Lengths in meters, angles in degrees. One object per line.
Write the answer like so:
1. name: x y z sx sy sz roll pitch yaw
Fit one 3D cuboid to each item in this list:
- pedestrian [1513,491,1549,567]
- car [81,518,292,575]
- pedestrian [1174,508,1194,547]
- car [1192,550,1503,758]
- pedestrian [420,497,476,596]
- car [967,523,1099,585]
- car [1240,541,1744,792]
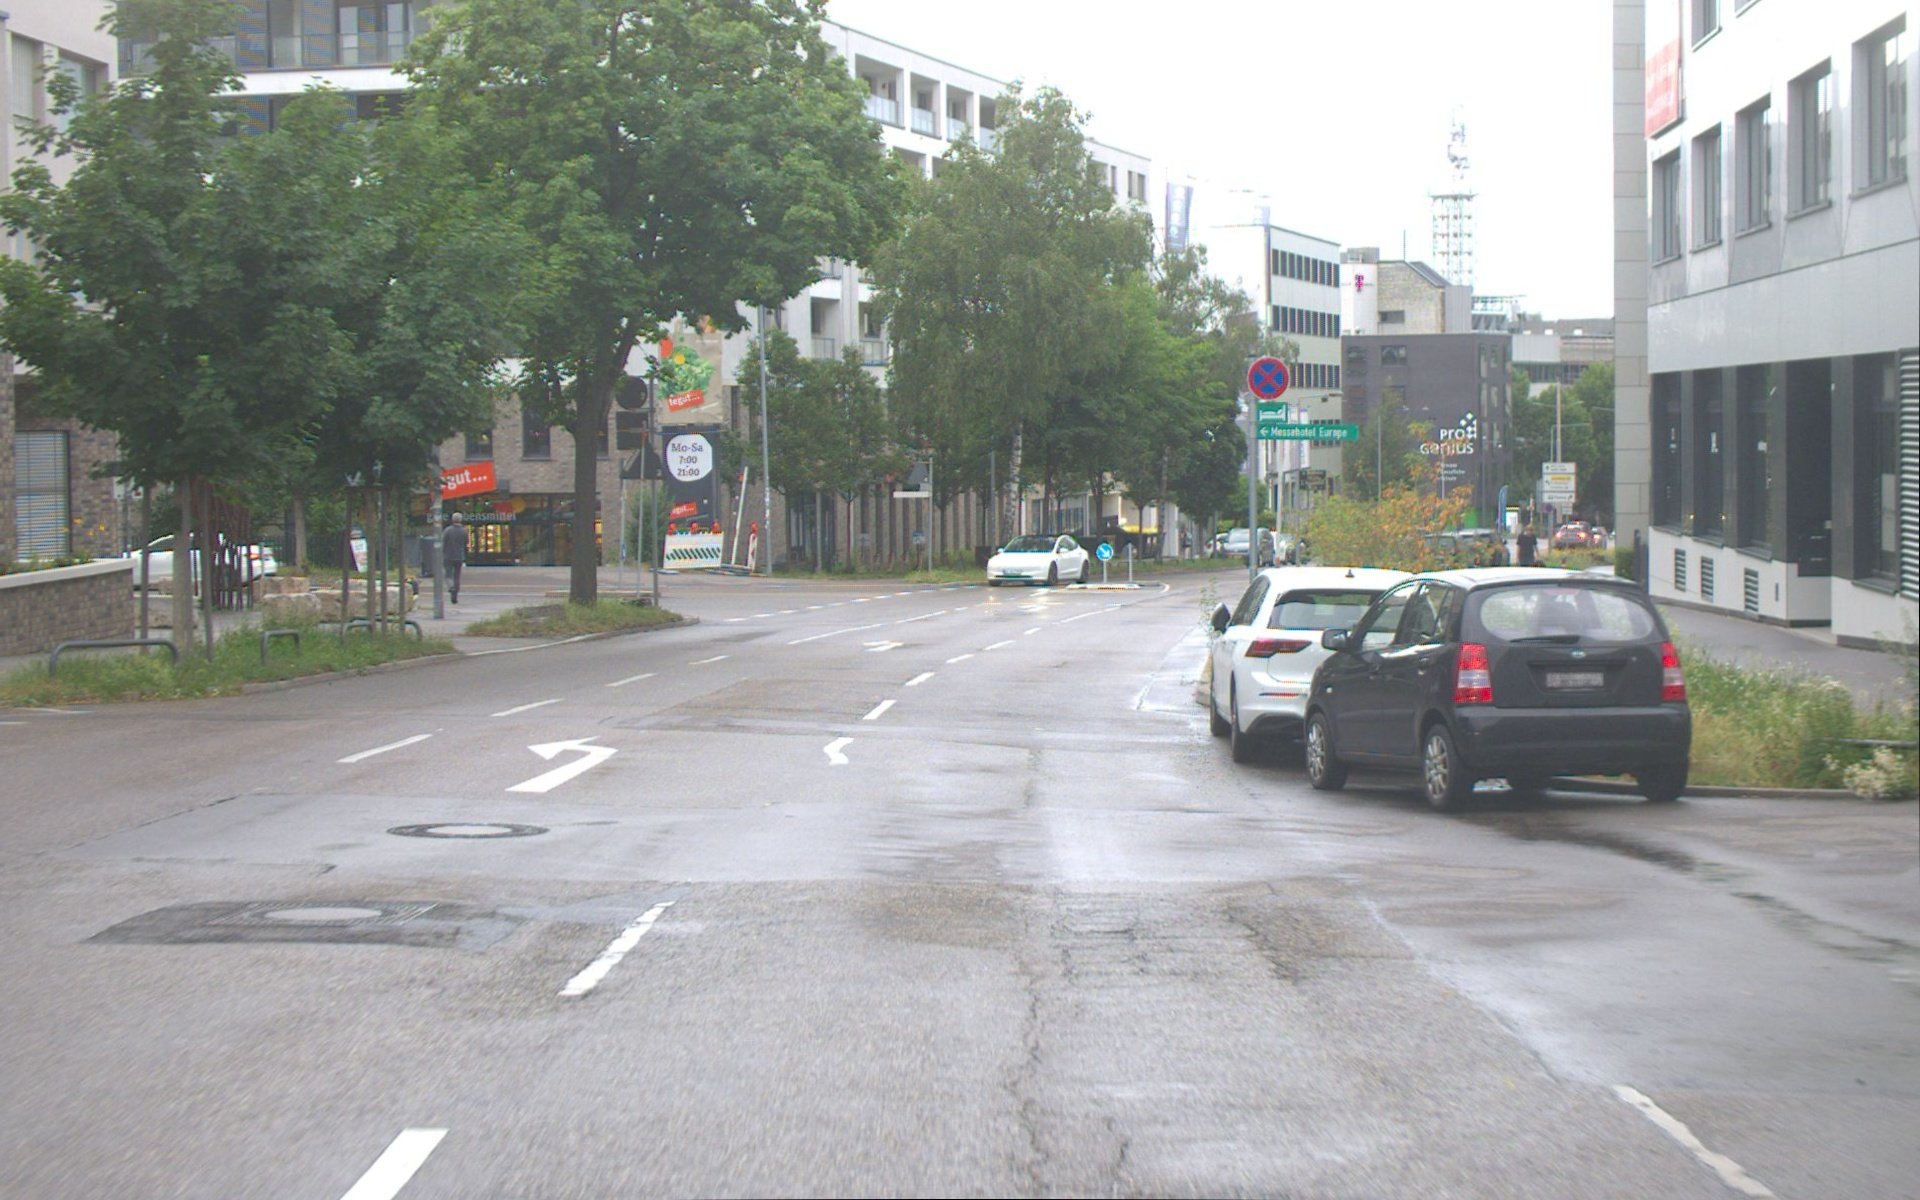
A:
1. pedestrian: 13.634 -1.688 82.082 0.823 1.790 1.207 0 0 9
2. car: -19.145 -1.325 85.168 4.688 1.288 2.000 1 1 5
3. pedestrian: 9.630 -3.118 147.777 0.709 1.677 0.956 1 1 11
4. car: 2.995 0.360 27.492 2.039 1.459 4.502 1 1 1
5. pedestrian: -10.473 -1.093 70.318 1.055 2.007 1.100 1 0 -6
6. car: 2.088 -1.297 96.655 2.059 1.655 4.815 1 1 23
7. car: 3.373 0.372 22.655 2.043 1.453 4.056 1 1 -10
